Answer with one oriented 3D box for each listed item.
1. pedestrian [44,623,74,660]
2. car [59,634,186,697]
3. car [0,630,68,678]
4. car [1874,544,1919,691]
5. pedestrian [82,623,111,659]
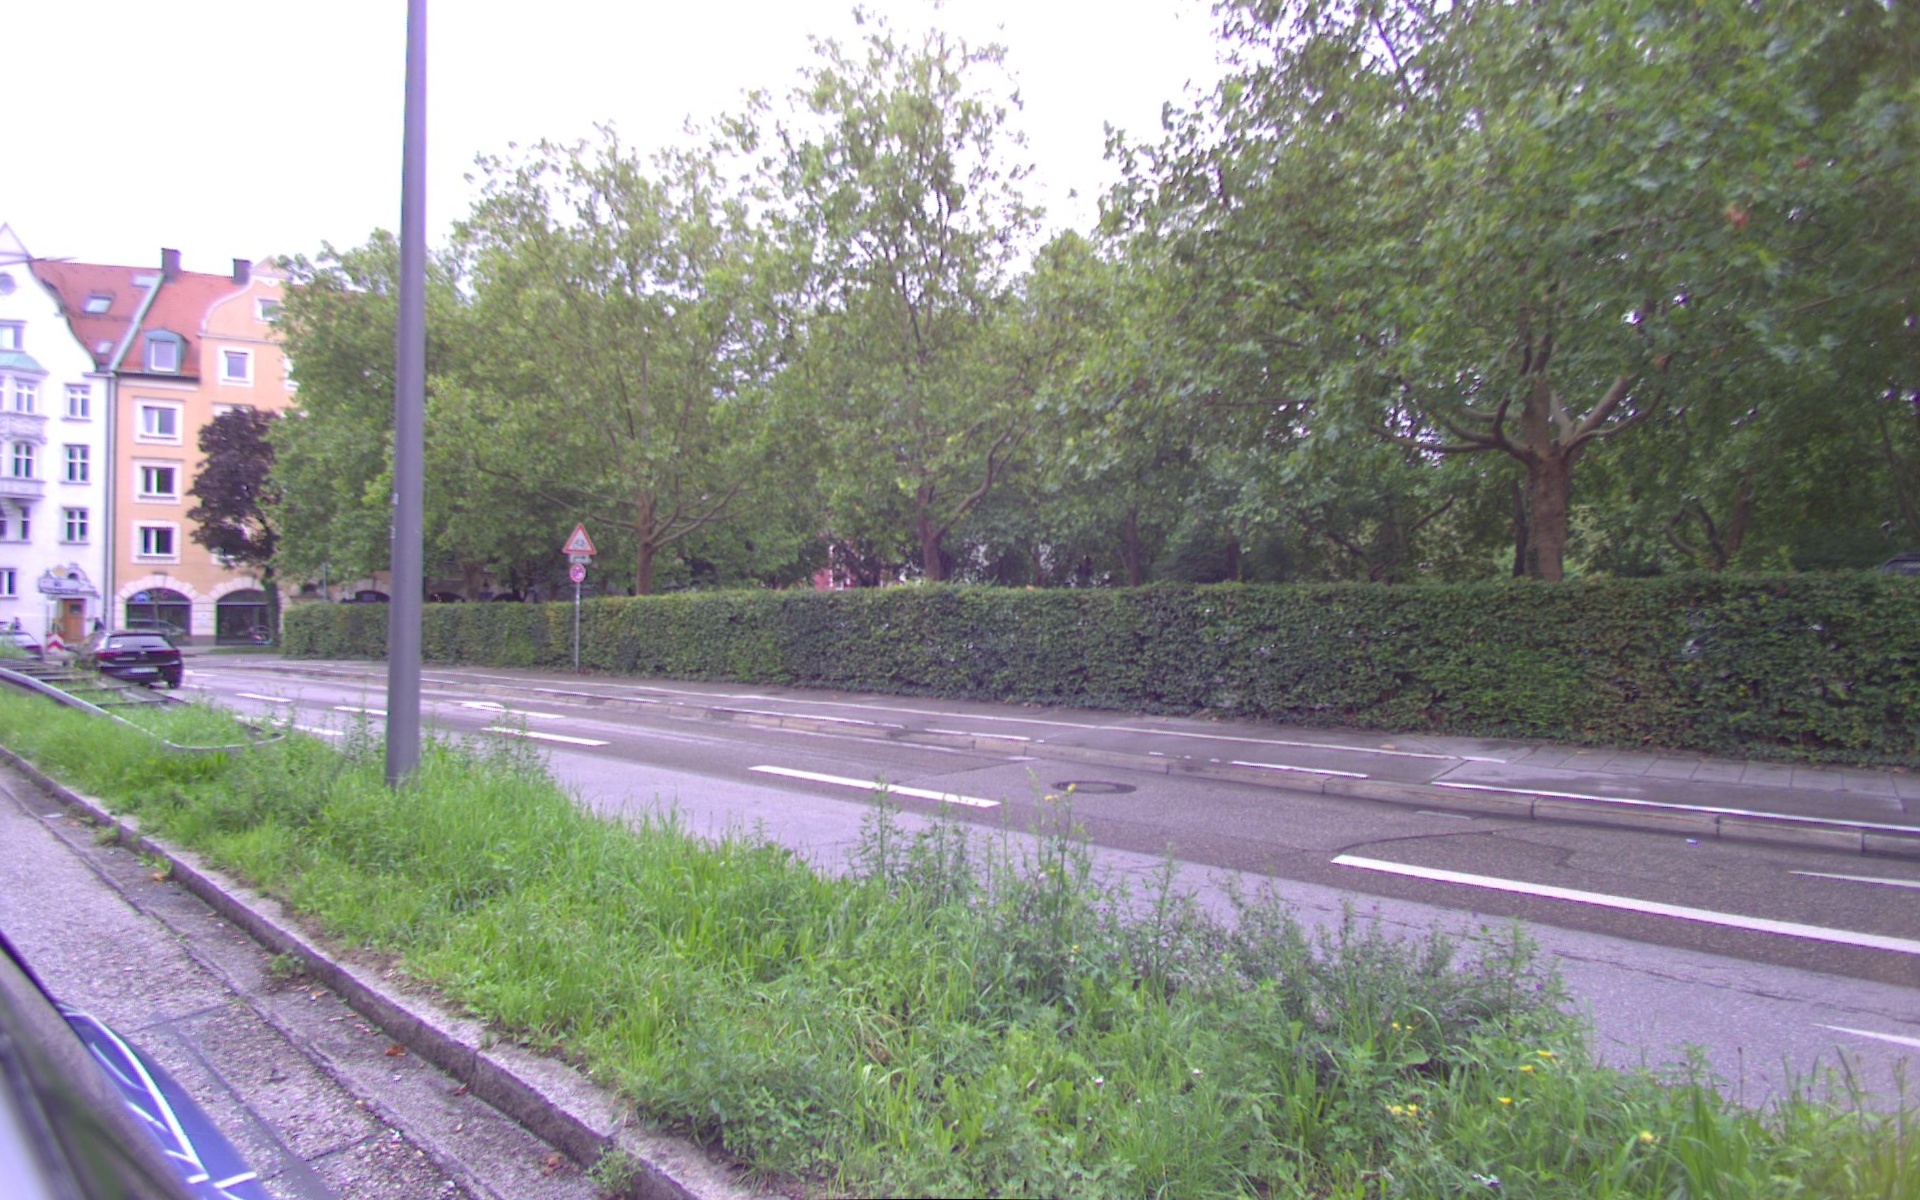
[{"bbox_3d":[-50.172,2.298,56.371,0.991,2.029,0.881,-1,0,-18],"label":"pedestrian"},{"bbox_3d":[-20.338,1.517,24.533,3.998,1.395,1.735,-2,-2,41],"label":"car"},{"bbox_3d":[-29.172,1.626,30.896,3.984,1.395,1.741,-1,-2,30],"label":"car"},{"bbox_3d":[18.936,0.274,19.354,2.000,2.554,5.779,-1,0,44],"label":"car"},{"bbox_3d":[-49.168,2.319,57.611,0.991,2.029,0.881,-1,0,-18],"label":"pedestrian"}]
